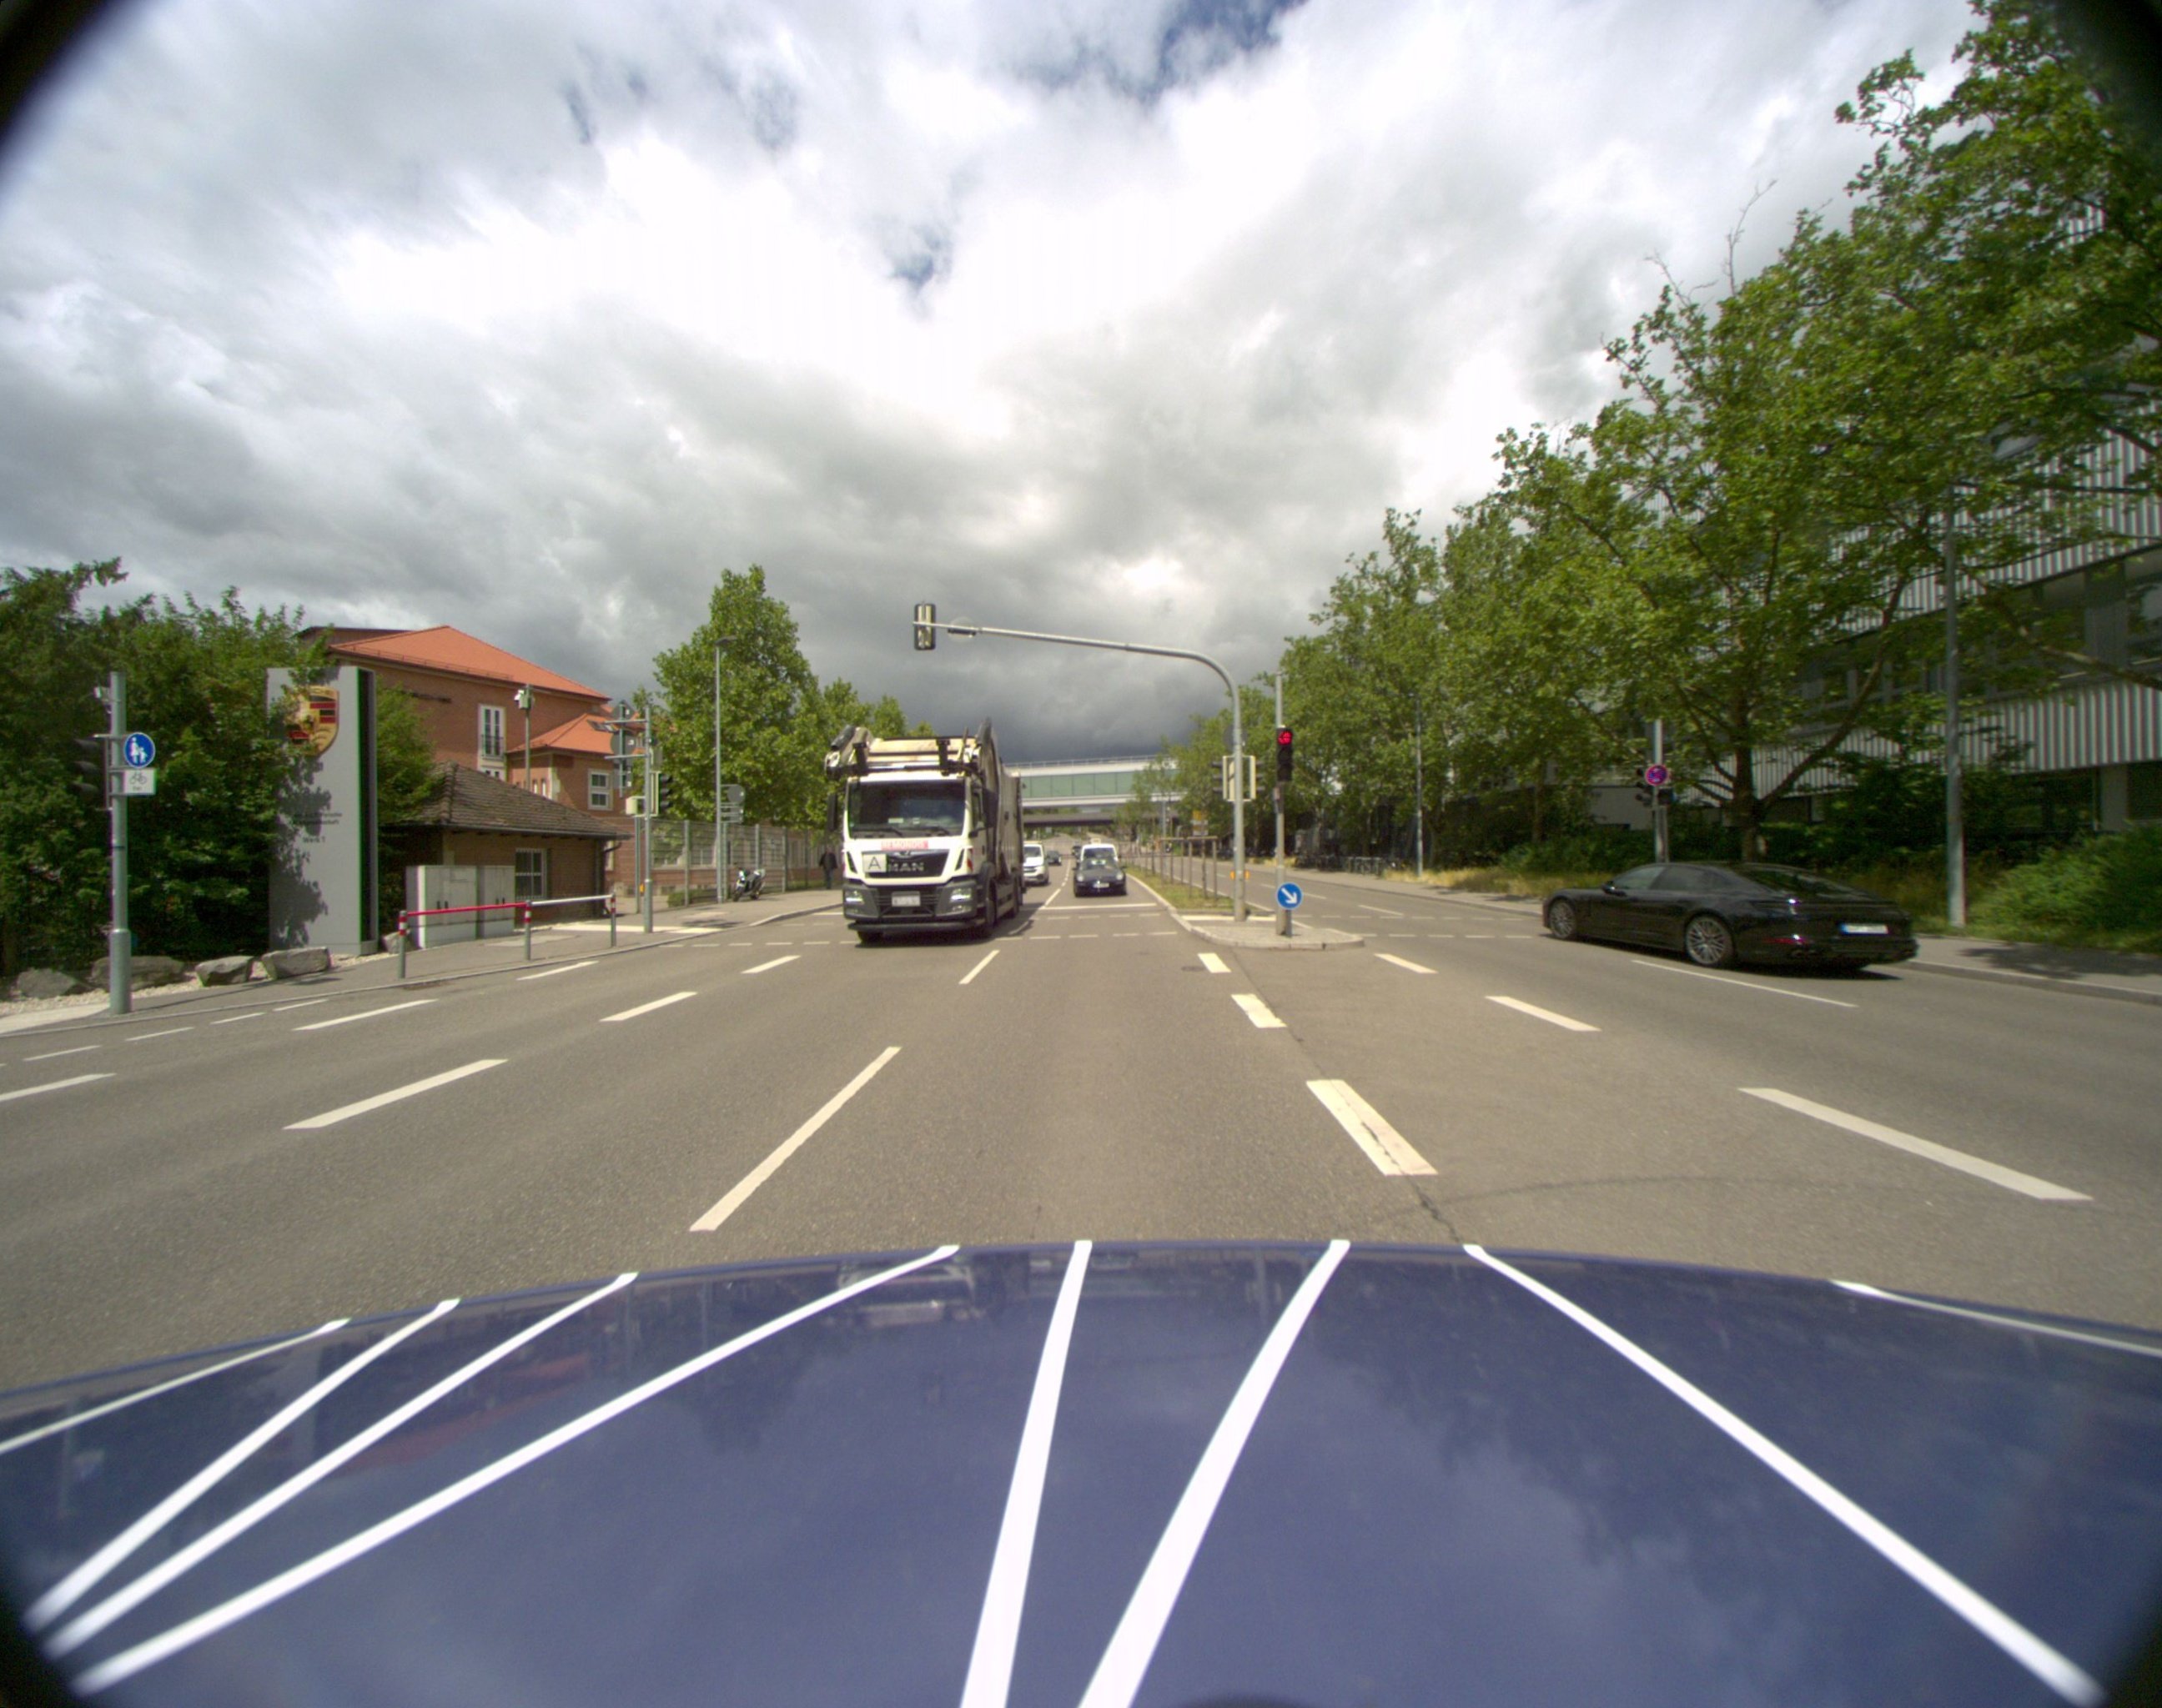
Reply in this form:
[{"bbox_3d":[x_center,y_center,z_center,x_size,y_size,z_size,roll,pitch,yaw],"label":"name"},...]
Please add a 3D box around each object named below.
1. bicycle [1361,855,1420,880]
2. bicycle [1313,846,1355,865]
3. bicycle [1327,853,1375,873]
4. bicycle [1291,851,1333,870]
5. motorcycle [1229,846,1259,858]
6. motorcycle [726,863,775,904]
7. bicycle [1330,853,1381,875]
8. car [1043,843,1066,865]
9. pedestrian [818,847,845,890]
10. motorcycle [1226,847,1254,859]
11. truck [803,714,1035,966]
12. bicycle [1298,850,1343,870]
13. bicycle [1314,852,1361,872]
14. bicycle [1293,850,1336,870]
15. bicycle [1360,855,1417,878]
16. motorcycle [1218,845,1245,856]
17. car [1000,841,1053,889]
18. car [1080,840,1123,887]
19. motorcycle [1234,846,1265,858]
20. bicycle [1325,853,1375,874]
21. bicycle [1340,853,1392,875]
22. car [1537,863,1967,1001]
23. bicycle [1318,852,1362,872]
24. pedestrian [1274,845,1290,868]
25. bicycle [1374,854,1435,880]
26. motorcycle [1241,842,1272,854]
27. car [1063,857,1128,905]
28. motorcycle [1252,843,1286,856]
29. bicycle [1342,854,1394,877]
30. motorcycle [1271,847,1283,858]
[{"bbox_3d":[15.164,0.663,37.282,2.561,1.079,0.616,-2,1,6],"label":"bicycle"},{"bbox_3d":[15.672,0.078,47.087,2.411,1.079,0.616,-2,1,11],"label":"bicycle"},{"bbox_3d":[15.582,0.511,43.874,2.560,1.079,0.616,-2,1,13],"label":"bicycle"},{"bbox_3d":[15.147,0.408,49.916,2.562,1.171,0.615,-2,1,1],"label":"bicycle"},{"bbox_3d":[16.319,-0.217,75.923,2.830,1.029,0.600,-2,-2,4],"label":"motorcycle"},{"bbox_3d":[-10.630,0.924,24.513,0.570,1.219,2.175,0,1,1],"label":"motorcycle"},{"bbox_3d":[15.231,0.553,42.180,2.562,1.079,0.615,-2,1,-1],"label":"bicycle"},{"bbox_3d":[-2.543,-0.074,73.911,1.871,1.944,4.711,-3,1,2],"label":"car"},{"bbox_3d":[-10.577,0.600,32.214,0.729,1.756,1.015,-2,1,1],"label":"pedestrian"},{"bbox_3d":[16.462,-0.102,78.670,2.830,1.029,0.600,-2,-2,4],"label":"motorcycle"},{"bbox_3d":[-2.863,-0.271,17.288,2.713,3.863,10.740,-2,1,1],"label":"truck"},{"bbox_3d":[15.152,0.397,48.102,2.562,1.171,0.615,-2,1,1],"label":"bicycle"},{"bbox_3d":[15.177,0.484,44.976,2.561,1.079,0.616,-2,1,6],"label":"bicycle"},{"bbox_3d":[15.072,0.380,49.071,2.562,1.171,0.615,-2,1,1],"label":"bicycle"},{"bbox_3d":[15.470,0.619,38.248,2.561,1.079,0.616,-2,1,8],"label":"bicycle"},{"bbox_3d":[16.535,-0.399,83.566,2.830,1.029,0.600,-2,-2,4],"label":"motorcycle"},{"bbox_3d":[-2.449,0.441,35.241,1.871,1.944,4.711,-3,1,2],"label":"car"},{"bbox_3d":[0.911,0.465,35.476,1.824,2.001,4.392,-1,-1,0],"label":"car"},{"bbox_3d":[16.576,-0.196,74.798,2.830,1.029,0.600,-2,-2,7],"label":"motorcycle"},{"bbox_3d":[15.242,0.541,43.029,2.561,1.079,0.628,-2,1,4],"label":"bicycle"},{"bbox_3d":[15.430,0.551,41.176,2.563,1.079,0.615,-2,1,-2],"label":"bicycle"},{"bbox_3d":[9.138,0.930,11.111,1.999,1.446,4.767,1,1,-1],"label":"car"},{"bbox_3d":[15.604,0.481,45.786,2.413,1.079,0.615,-2,1,0],"label":"bicycle"},{"bbox_3d":[13.969,0.185,52.758,0.846,1.524,0.749,-2,1,1],"label":"pedestrian"},{"bbox_3d":[15.340,0.615,36.059,2.561,1.079,0.616,-2,1,6],"label":"bicycle"},{"bbox_3d":[16.793,-0.565,72.642,2.830,1.029,0.600,-2,-2,4],"label":"motorcycle"},{"bbox_3d":[0.571,0.841,25.389,1.838,1.318,4.001,-3,1,5],"label":"car"},{"bbox_3d":[17.128,-0.428,69.251,2.830,1.029,0.600,-2,-2,4],"label":"motorcycle"},{"bbox_3d":[15.211,0.602,40.320,2.564,1.079,0.615,-2,1,-8],"label":"bicycle"},{"bbox_3d":[19.433,-0.149,75.345,0.599,1.029,2.591,-2,-2,4],"label":"motorcycle"}]
